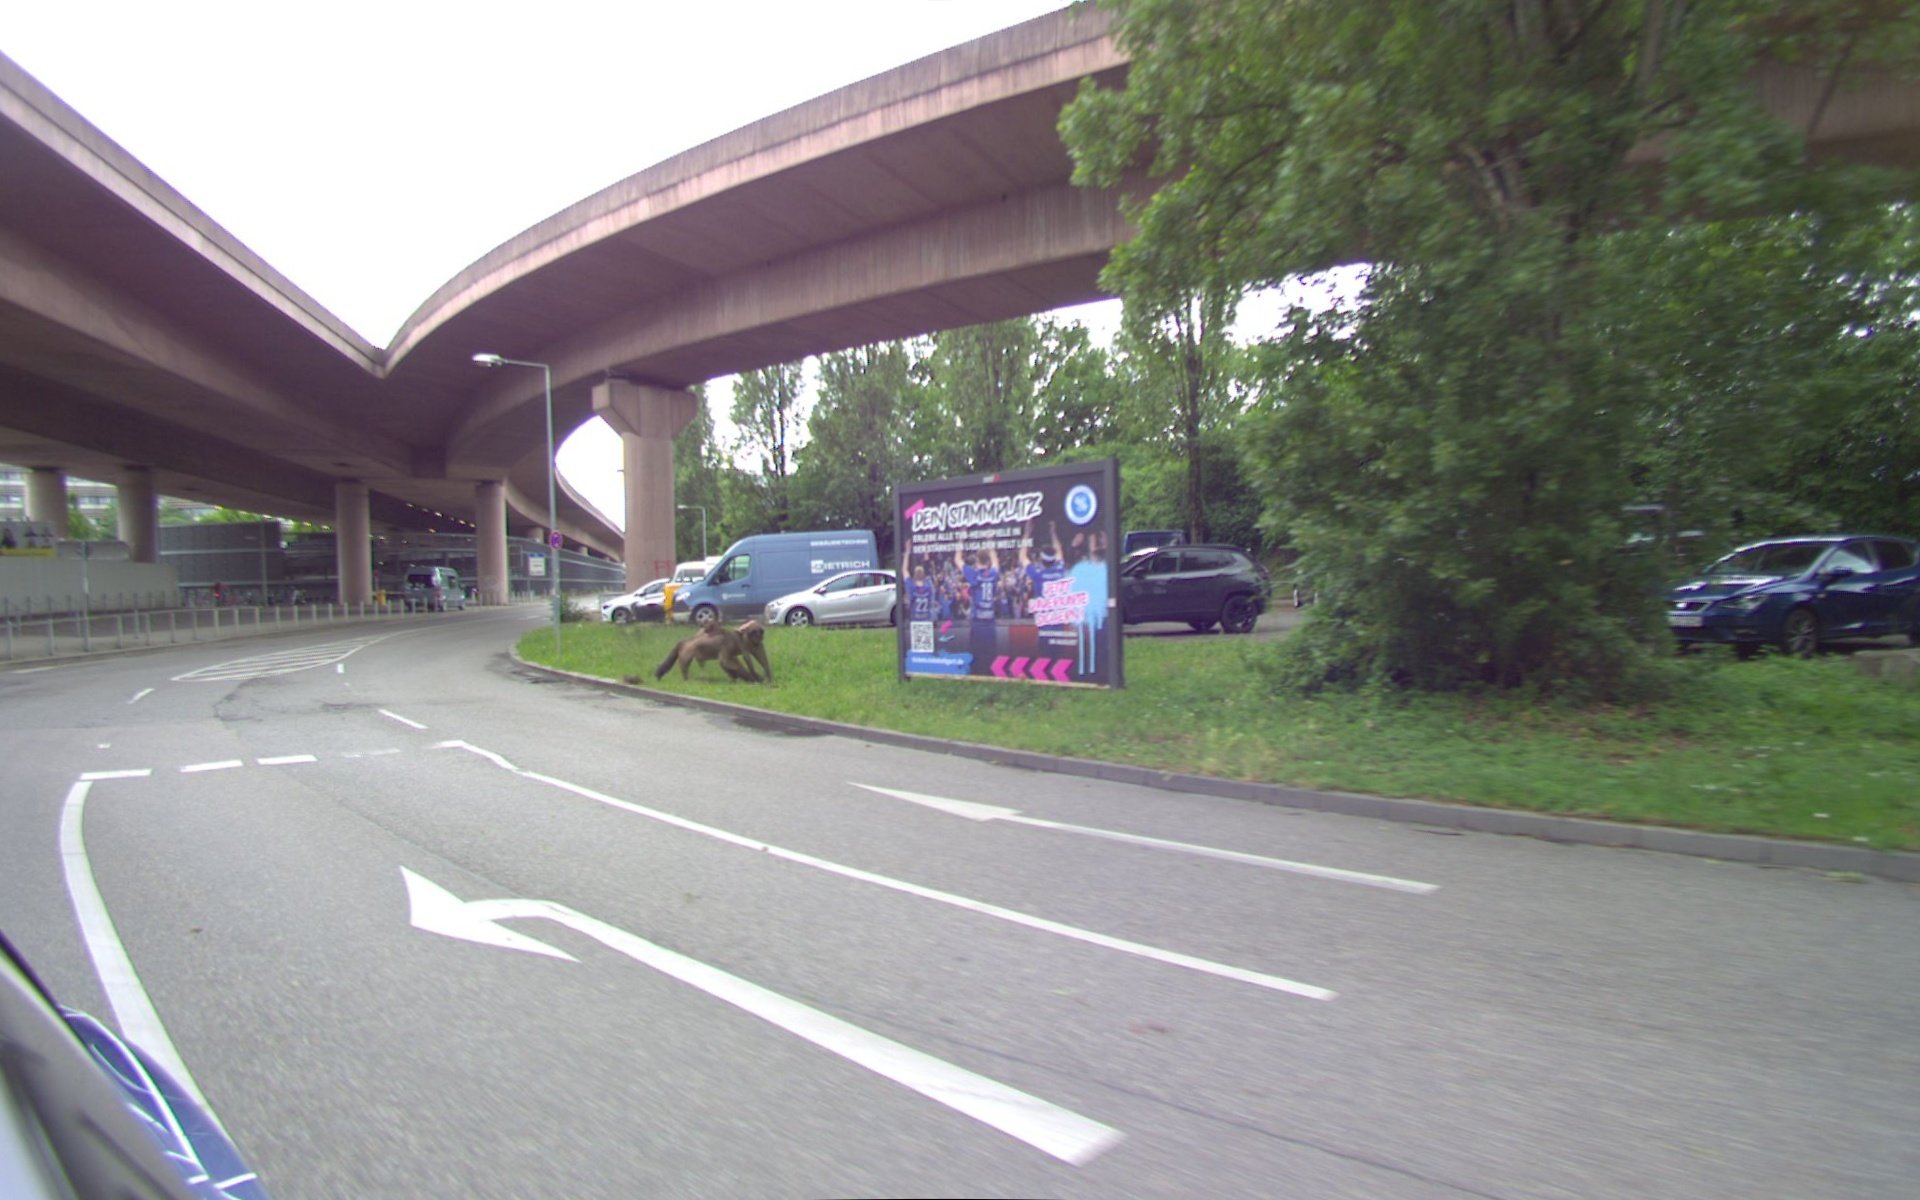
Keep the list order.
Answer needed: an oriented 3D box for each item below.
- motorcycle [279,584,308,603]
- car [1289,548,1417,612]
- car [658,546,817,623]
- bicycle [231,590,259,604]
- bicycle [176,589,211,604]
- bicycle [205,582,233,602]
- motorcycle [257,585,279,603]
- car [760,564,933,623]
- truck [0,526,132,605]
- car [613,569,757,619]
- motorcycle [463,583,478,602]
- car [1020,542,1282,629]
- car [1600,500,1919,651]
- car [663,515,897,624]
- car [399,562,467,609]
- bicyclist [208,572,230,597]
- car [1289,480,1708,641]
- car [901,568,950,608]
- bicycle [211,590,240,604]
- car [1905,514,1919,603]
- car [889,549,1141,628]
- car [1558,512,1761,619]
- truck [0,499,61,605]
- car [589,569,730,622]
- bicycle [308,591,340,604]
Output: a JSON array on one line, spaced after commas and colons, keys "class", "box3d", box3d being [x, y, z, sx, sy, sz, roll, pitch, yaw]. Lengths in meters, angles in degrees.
[{"class": "motorcycle", "box3d": [-46.955, -0.428, 71.325, 0.772, 1.244, 2.542, 0, -1, -12]}, {"class": "car", "box3d": [9.744, -0.486, 25.481, 1.977, 1.446, 4.633, 1, 1, 8]}, {"class": "car", "box3d": [-6.670, -0.488, 30.720, 4.500, 2.127, 1.854, -2, 1, -7]}, {"class": "bicycle", "box3d": [-57.531, -0.216, 81.456, 1.757, 1.087, 0.438, -1, 0, -26]}, {"class": "bicycle", "box3d": [-55.556, -0.246, 73.359, 2.030, 1.031, 0.396, -1, 0, -9]}, {"class": "bicycle", "box3d": [-43.624, -0.482, 59.608, 0.790, 1.106, 2.138, 1, 1, -21]}, {"class": "motorcycle", "box3d": [-48.478, -0.386, 70.943, 0.535, 1.114, 2.336, -1, -3, -15]}, {"class": "car", "box3d": [-2.940, -0.177, 25.821, 4.223, 1.426, 2.005, 0, 1, -10]}, {"class": "truck", "box3d": [-53.443, -1.936, 57.004, 2.998, 4.336, 10.204, 1, 1, 27]}, {"class": "car", "box3d": [-8.919, -0.201, 33.136, 4.194, 1.381, 2.002, -3, 1, -4]}, {"class": "motorcycle", "box3d": [-36.748, -0.573, 75.952, 0.785, 1.377, 2.136, 0, 0, -32]}, {"class": "car", "box3d": [3.497, -0.258, 18.881, 4.377, 1.523, 1.901, 0, 0, -11]}, {"class": "car", "box3d": [10.497, -0.212, 12.536, 4.375, 1.495, 1.816, 3, -2, -15]}, {"class": "car", "box3d": [-4.952, -0.859, 28.320, 6.097, 2.745, 2.372, -2, 1, -8]}, {"class": "car", "box3d": [-31.602, -0.855, 60.853, 1.967, 2.633, 6.088, 0, 1, -11]}, {"class": "bicyclist", "box3d": [-43.584, -0.920, 59.520, 0.785, 1.416, 1.070, 1, 1, -21]}, {"class": "car", "box3d": [7.688, -0.562, 14.701, 5.023, 2.087, 2.265, 0, 2, -11]}, {"class": "car", "box3d": [-1.286, -0.465, 39.458, 1.627, 1.452, 3.732, 1, 1, 2]}, {"class": "bicycle", "box3d": [-53.495, -0.231, 73.716, 1.705, 0.989, 0.438, -1, 0, -17]}, {"class": "car", "box3d": [19.402, -0.750, 17.894, 1.636, 1.724, 4.080, -3, 3, 3]}, {"class": "car", "box3d": [1.103, -0.225, 20.954, 4.770, 1.499, 2.083, 0, 1, -18]}, {"class": "car", "box3d": [14.688, -0.631, 21.583, 1.826, 1.814, 4.289, 1, -4, 9]}, {"class": "truck", "box3d": [-47.235, -2.238, 45.599, 3.130, 4.961, 9.642, 1, 1, 25]}, {"class": "car", "box3d": [-10.493, -0.169, 35.576, 4.331, 1.618, 1.955, -3, 1, -2]}, {"class": "bicycle", "box3d": [-47.548, -0.197, 75.666, 1.984, 0.933, 0.420, -1, 0, -24]}]
